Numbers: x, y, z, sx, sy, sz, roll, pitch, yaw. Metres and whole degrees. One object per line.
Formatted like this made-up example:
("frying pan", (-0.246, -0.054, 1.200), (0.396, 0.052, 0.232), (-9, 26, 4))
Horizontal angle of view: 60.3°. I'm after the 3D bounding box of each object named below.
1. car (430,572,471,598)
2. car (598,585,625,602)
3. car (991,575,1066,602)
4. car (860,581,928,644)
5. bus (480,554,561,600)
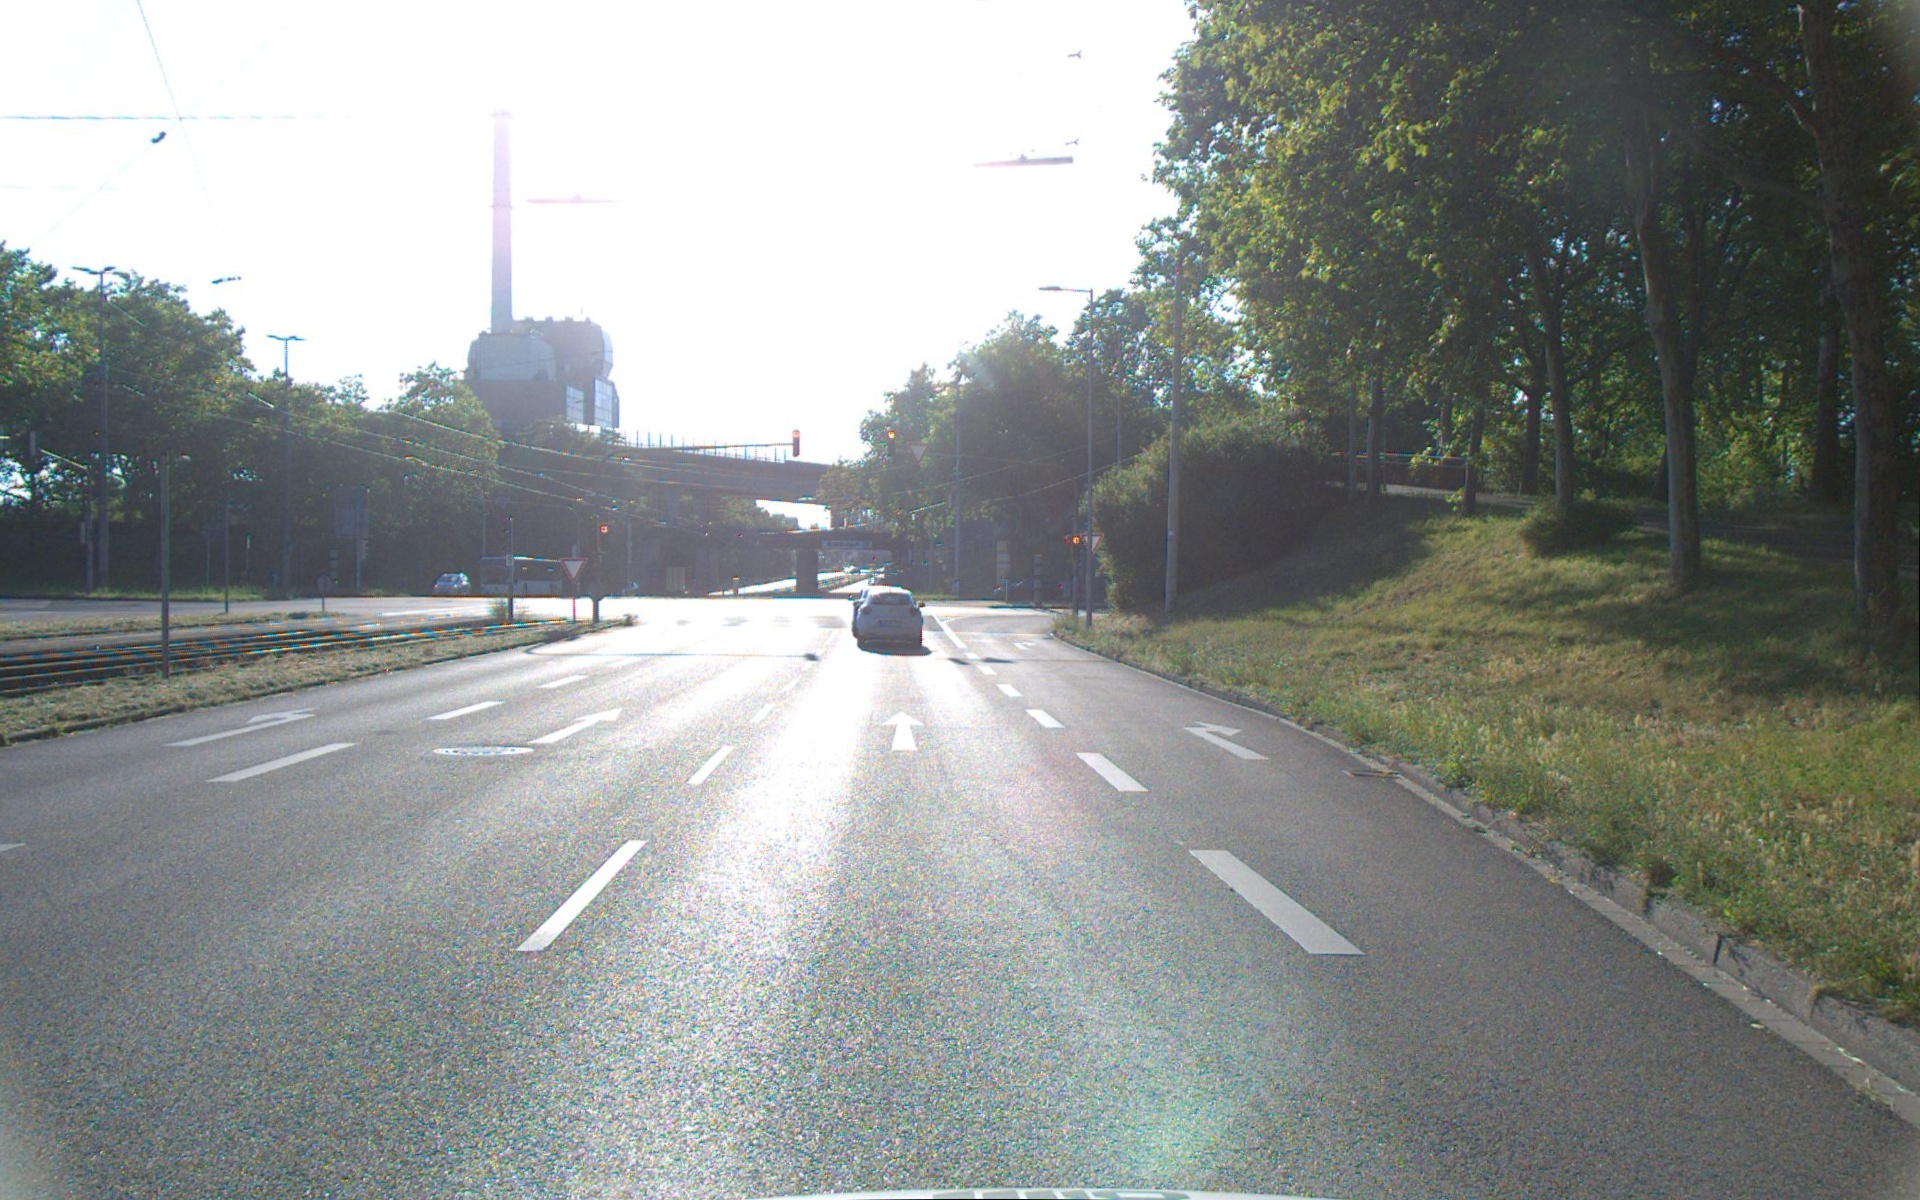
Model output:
("car", (-32.503, -0.977, 105.621), (1.575, 1.538, 4.005), (1, 1, -4))
("car", (-31.806, -0.639, 150.988), (1.574, 1.443, 4.008), (1, 1, -1))
("car", (4.399, -0.750, 106.160), (4.507, 1.602, 1.684), (1, 1, -20))
("car", (-1.762, 0.284, 43.253), (1.702, 1.531, 3.998), (0, 1, -4))
("bus", (-32.491, -1.632, 122.856), (2.491, 3.185, 12.917), (0, 0, 0))
